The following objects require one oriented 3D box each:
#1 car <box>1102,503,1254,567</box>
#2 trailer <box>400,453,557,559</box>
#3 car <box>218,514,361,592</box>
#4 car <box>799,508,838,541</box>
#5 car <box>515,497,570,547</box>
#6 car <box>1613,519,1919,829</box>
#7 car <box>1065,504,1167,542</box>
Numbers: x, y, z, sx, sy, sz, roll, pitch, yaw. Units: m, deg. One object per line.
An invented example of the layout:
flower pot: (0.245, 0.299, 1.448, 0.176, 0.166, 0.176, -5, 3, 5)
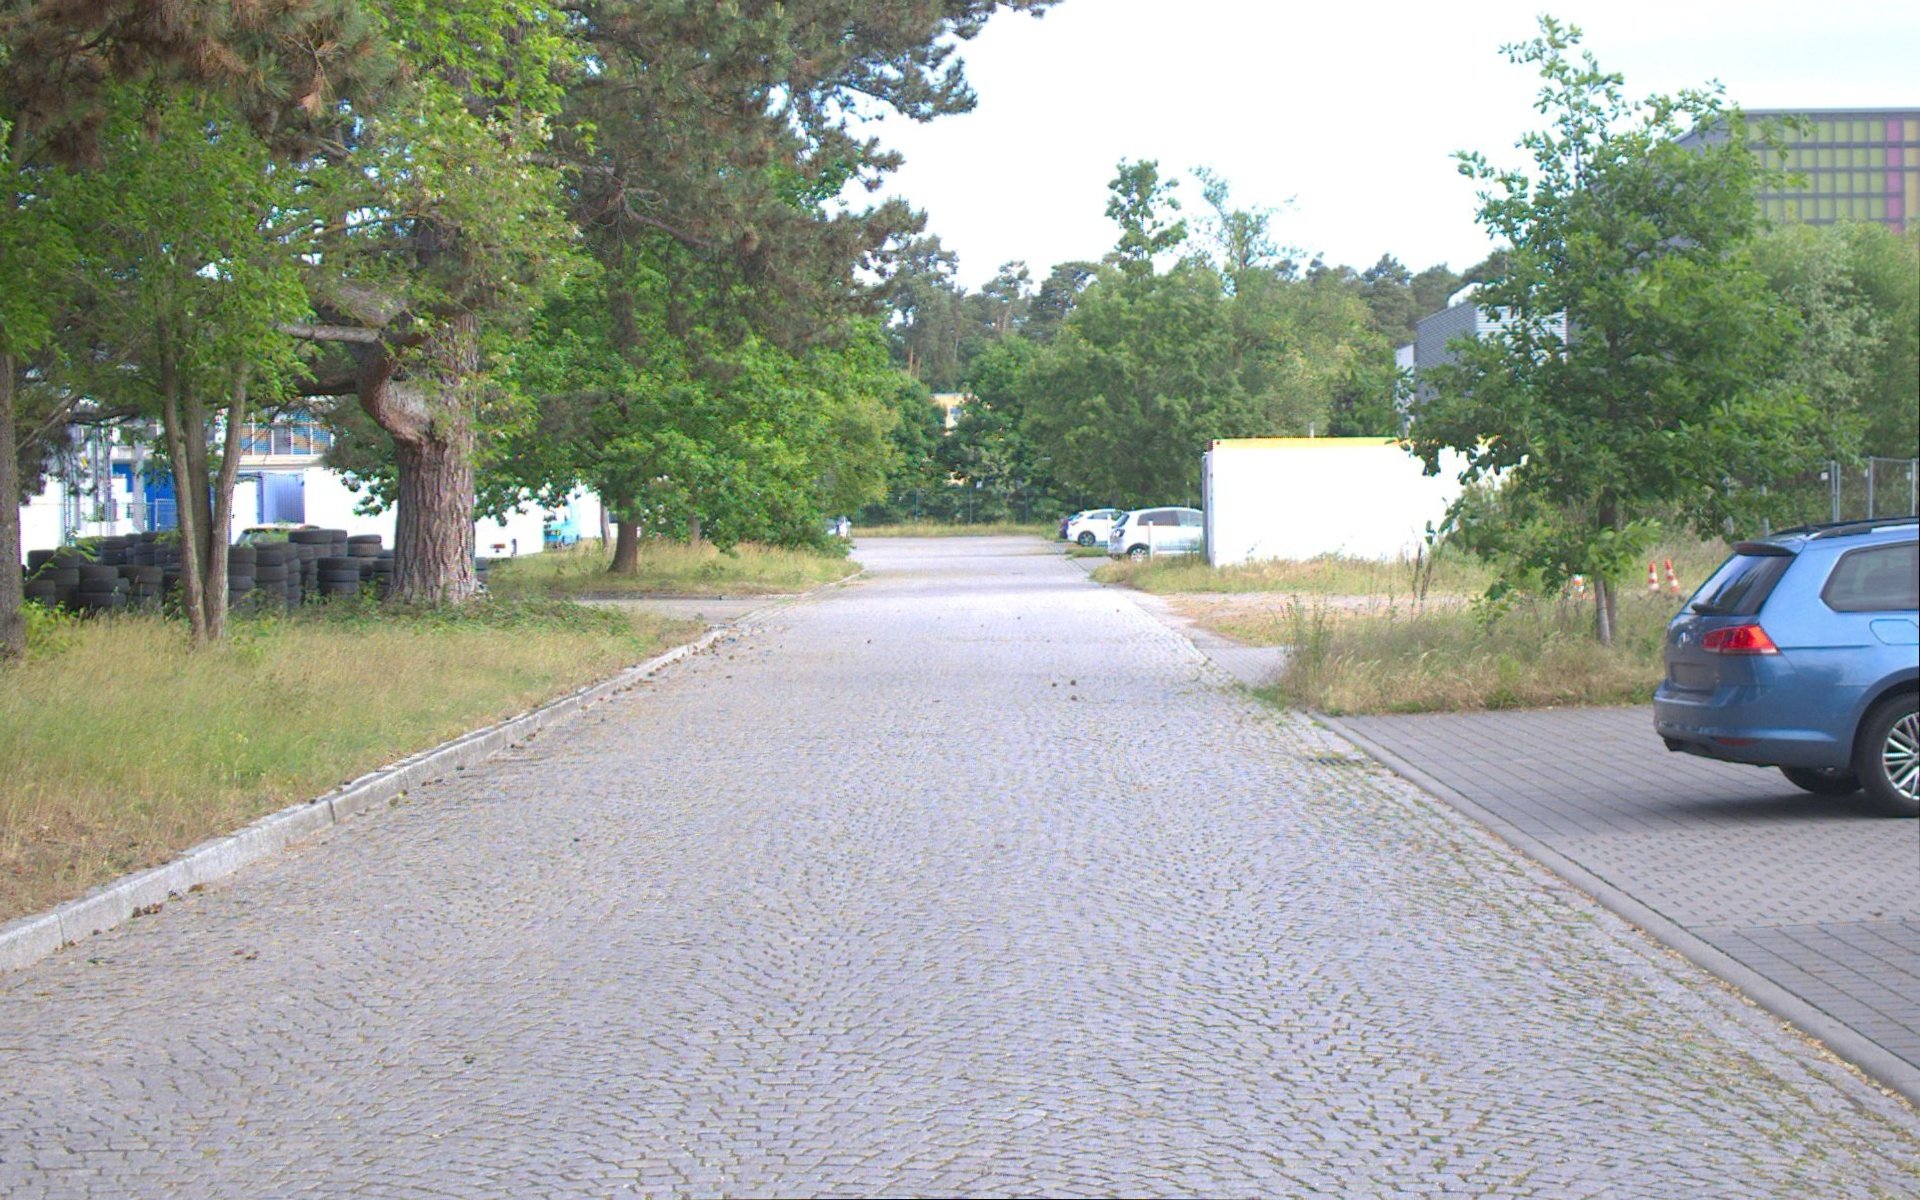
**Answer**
car: (5.779, -1.746, 91.388, 3.849, 1.649, 1.686, -1, 1, -2)
trailer: (-14.507, -2.856, 104.301, 3.159, 3.057, 8.784, 0, 2, 2)
car: (-13.009, -0.934, 66.860, 1.767, 1.448, 3.488, 0, 1, 6)
car: (-6.444, -3.460, 156.743, 1.735, 1.464, 4.046, -1, 1, -2)
car: (-17.610, -3.301, 145.153, 1.925, 2.040, 4.601, -1, 1, -2)
car: (5.871, 0.281, 17.865, 4.521, 1.438, 1.824, -2, 2, -3)
car: (6.213, -3.082, 137.523, 4.025, 1.496, 1.548, -1, 1, 2)
